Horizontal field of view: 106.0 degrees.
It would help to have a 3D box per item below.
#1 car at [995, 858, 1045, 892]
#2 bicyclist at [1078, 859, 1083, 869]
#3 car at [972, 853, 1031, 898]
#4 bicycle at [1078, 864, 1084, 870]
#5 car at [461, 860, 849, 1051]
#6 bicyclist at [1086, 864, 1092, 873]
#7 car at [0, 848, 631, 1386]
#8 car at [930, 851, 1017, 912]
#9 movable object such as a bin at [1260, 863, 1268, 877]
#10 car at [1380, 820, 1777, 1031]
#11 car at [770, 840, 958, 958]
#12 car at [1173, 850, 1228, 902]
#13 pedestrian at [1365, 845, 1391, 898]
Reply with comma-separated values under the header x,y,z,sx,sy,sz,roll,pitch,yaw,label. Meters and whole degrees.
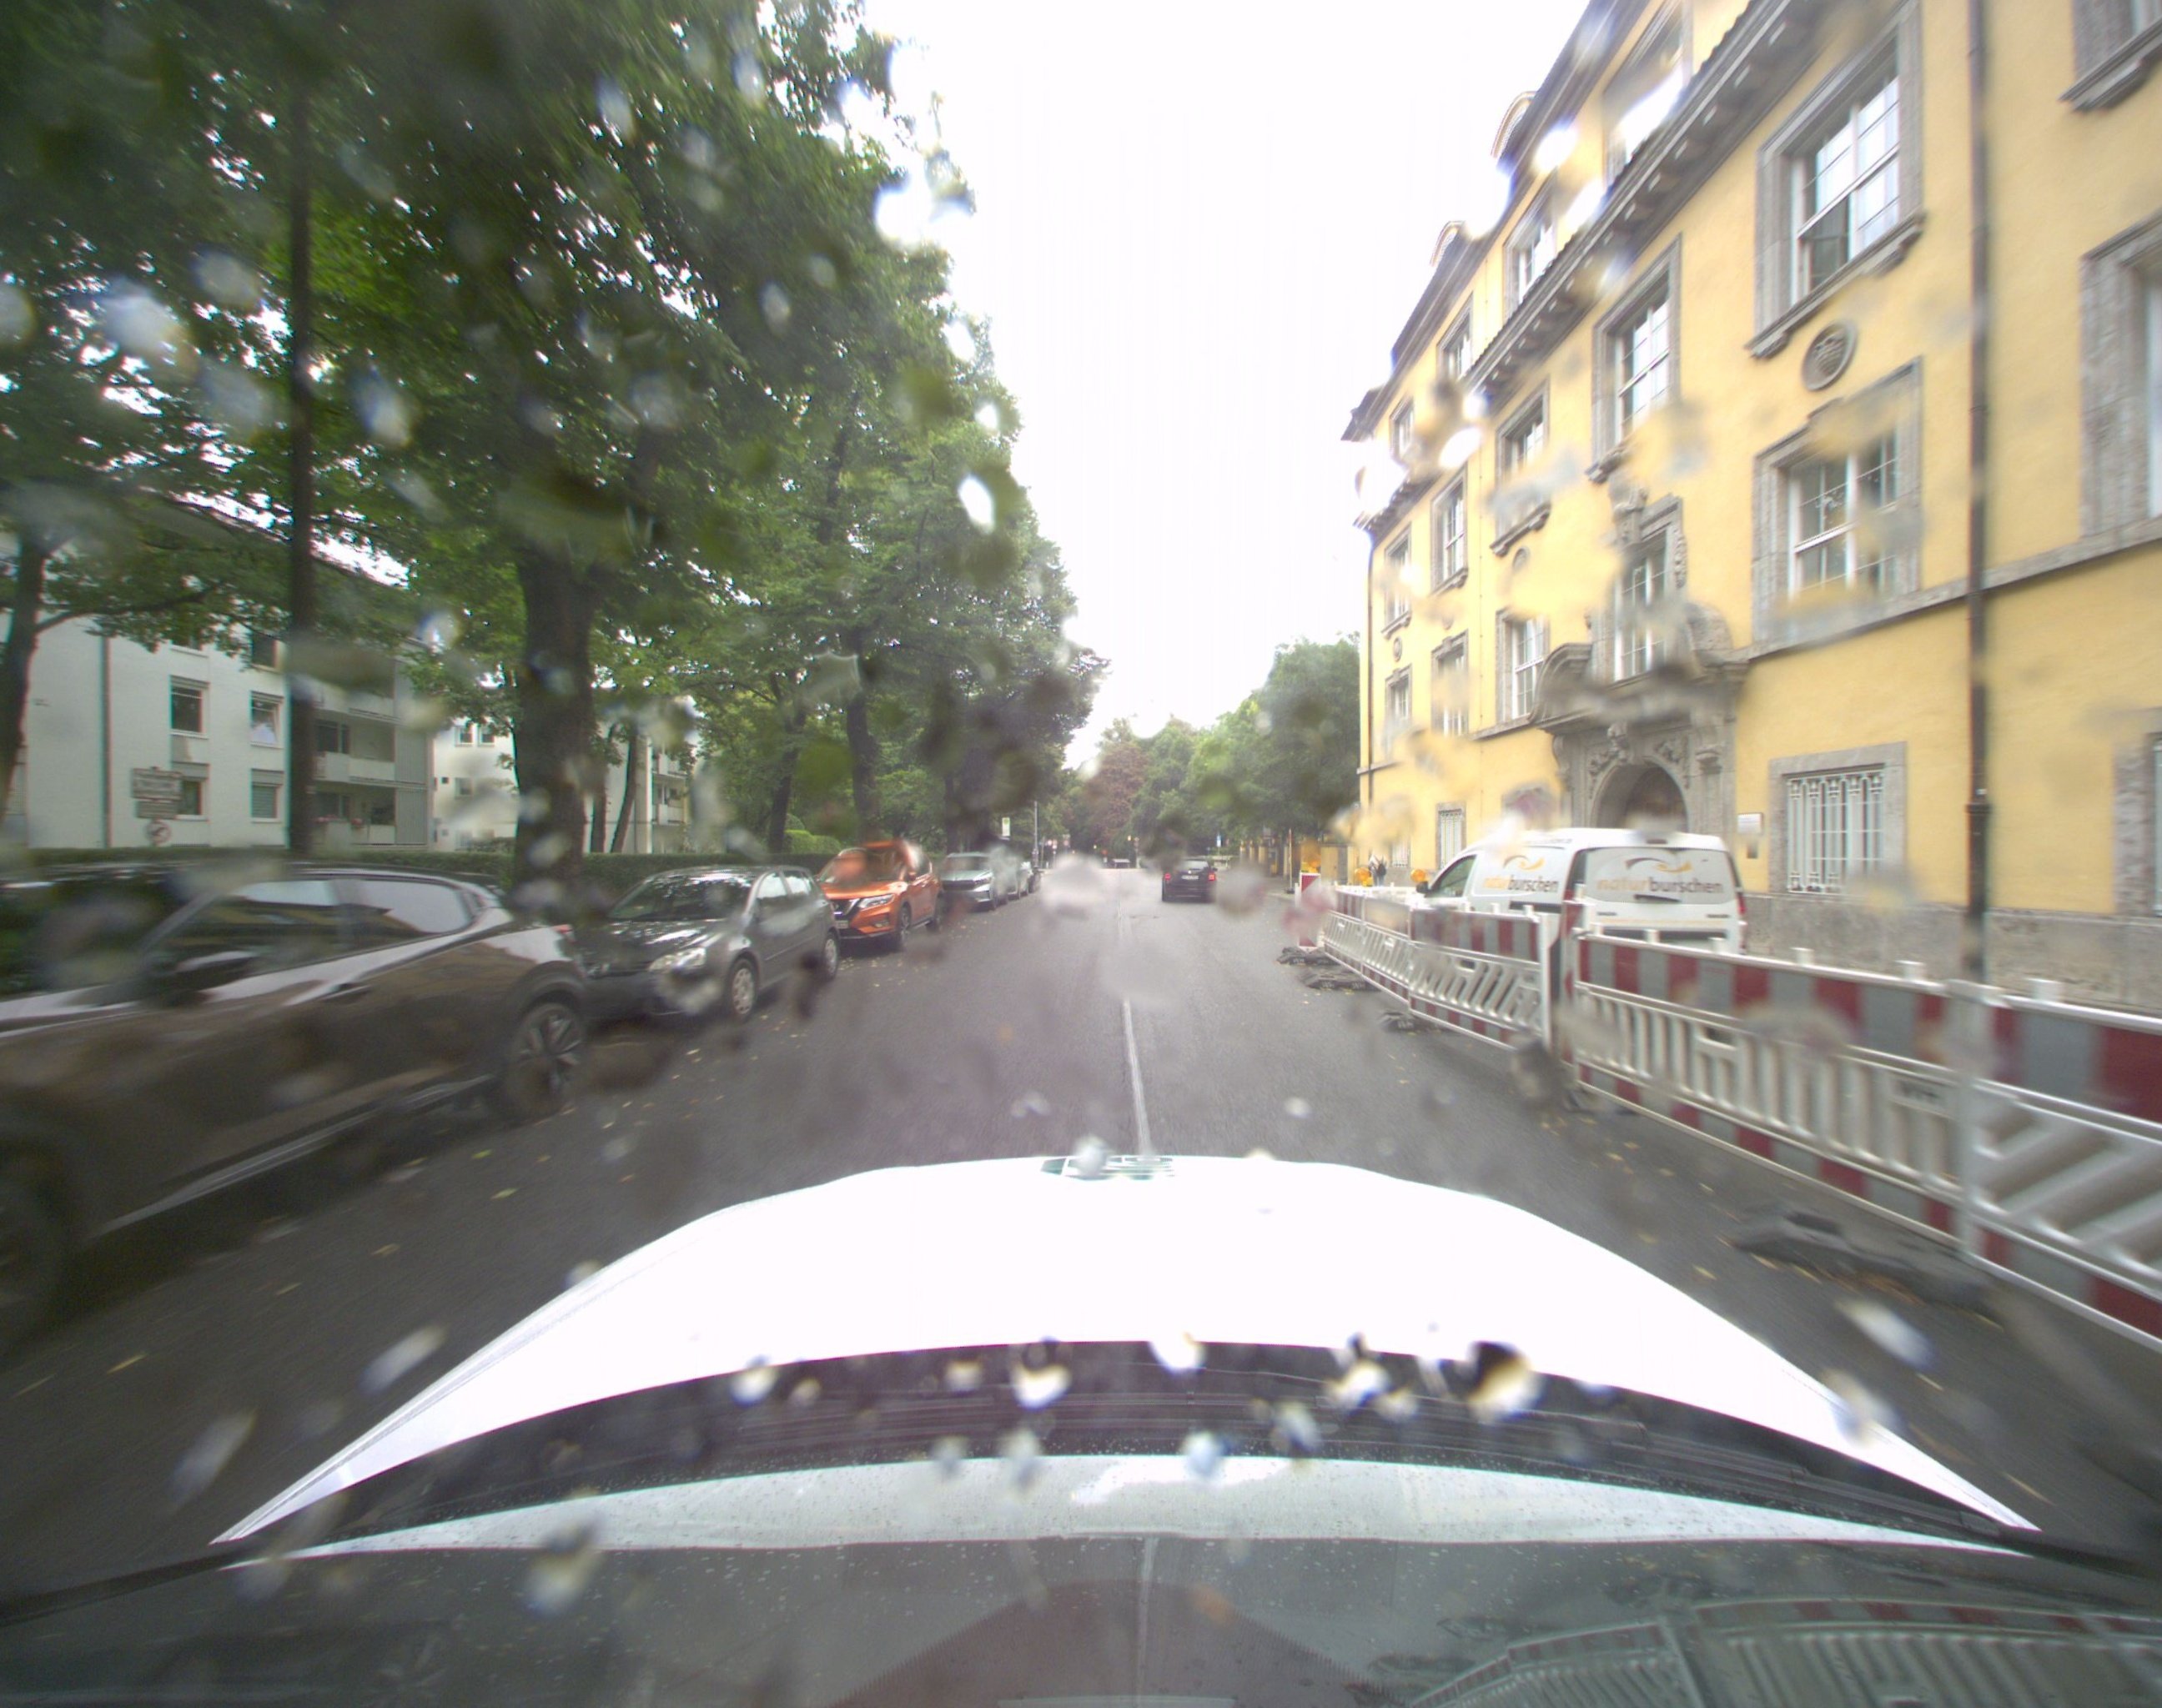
x,y,z,sx,sy,sz,roll,pitch,yaw,label
-2.528,0.839,34.464,1.570,1.343,4.048,0,0,4,car
-0.085,1.442,117.934,0.680,1.504,0.899,0,0,-7,bicyclist
-2.785,0.713,29.190,1.571,1.497,4.200,0,0,1,car
-0.037,1.863,117.658,0.679,0.830,2.104,0,-1,-7,bicycle
-3.900,0.798,8.422,1.721,1.422,4.252,0,0,1,car
1.046,1.850,104.441,0.680,1.187,0.480,0,0,-9,bicyclist
-4.037,0.769,3.391,1.780,1.574,4.486,0,0,1,car
-2.999,0.736,23.609,1.808,1.601,4.515,0,0,1,car
10.922,0.949,48.539,0.395,0.780,0.466,0,0,4,movable object such as a bin
4.938,0.628,8.958,1.734,1.750,4.355,0,-1,0,car
-3.553,0.672,14.335,1.865,1.728,4.644,0,0,3,car
3.894,0.680,27.022,1.570,1.584,4.049,0,0,5,car
9.251,0.539,25.397,0.558,1.638,0.571,-2,0,1,pedestrian
